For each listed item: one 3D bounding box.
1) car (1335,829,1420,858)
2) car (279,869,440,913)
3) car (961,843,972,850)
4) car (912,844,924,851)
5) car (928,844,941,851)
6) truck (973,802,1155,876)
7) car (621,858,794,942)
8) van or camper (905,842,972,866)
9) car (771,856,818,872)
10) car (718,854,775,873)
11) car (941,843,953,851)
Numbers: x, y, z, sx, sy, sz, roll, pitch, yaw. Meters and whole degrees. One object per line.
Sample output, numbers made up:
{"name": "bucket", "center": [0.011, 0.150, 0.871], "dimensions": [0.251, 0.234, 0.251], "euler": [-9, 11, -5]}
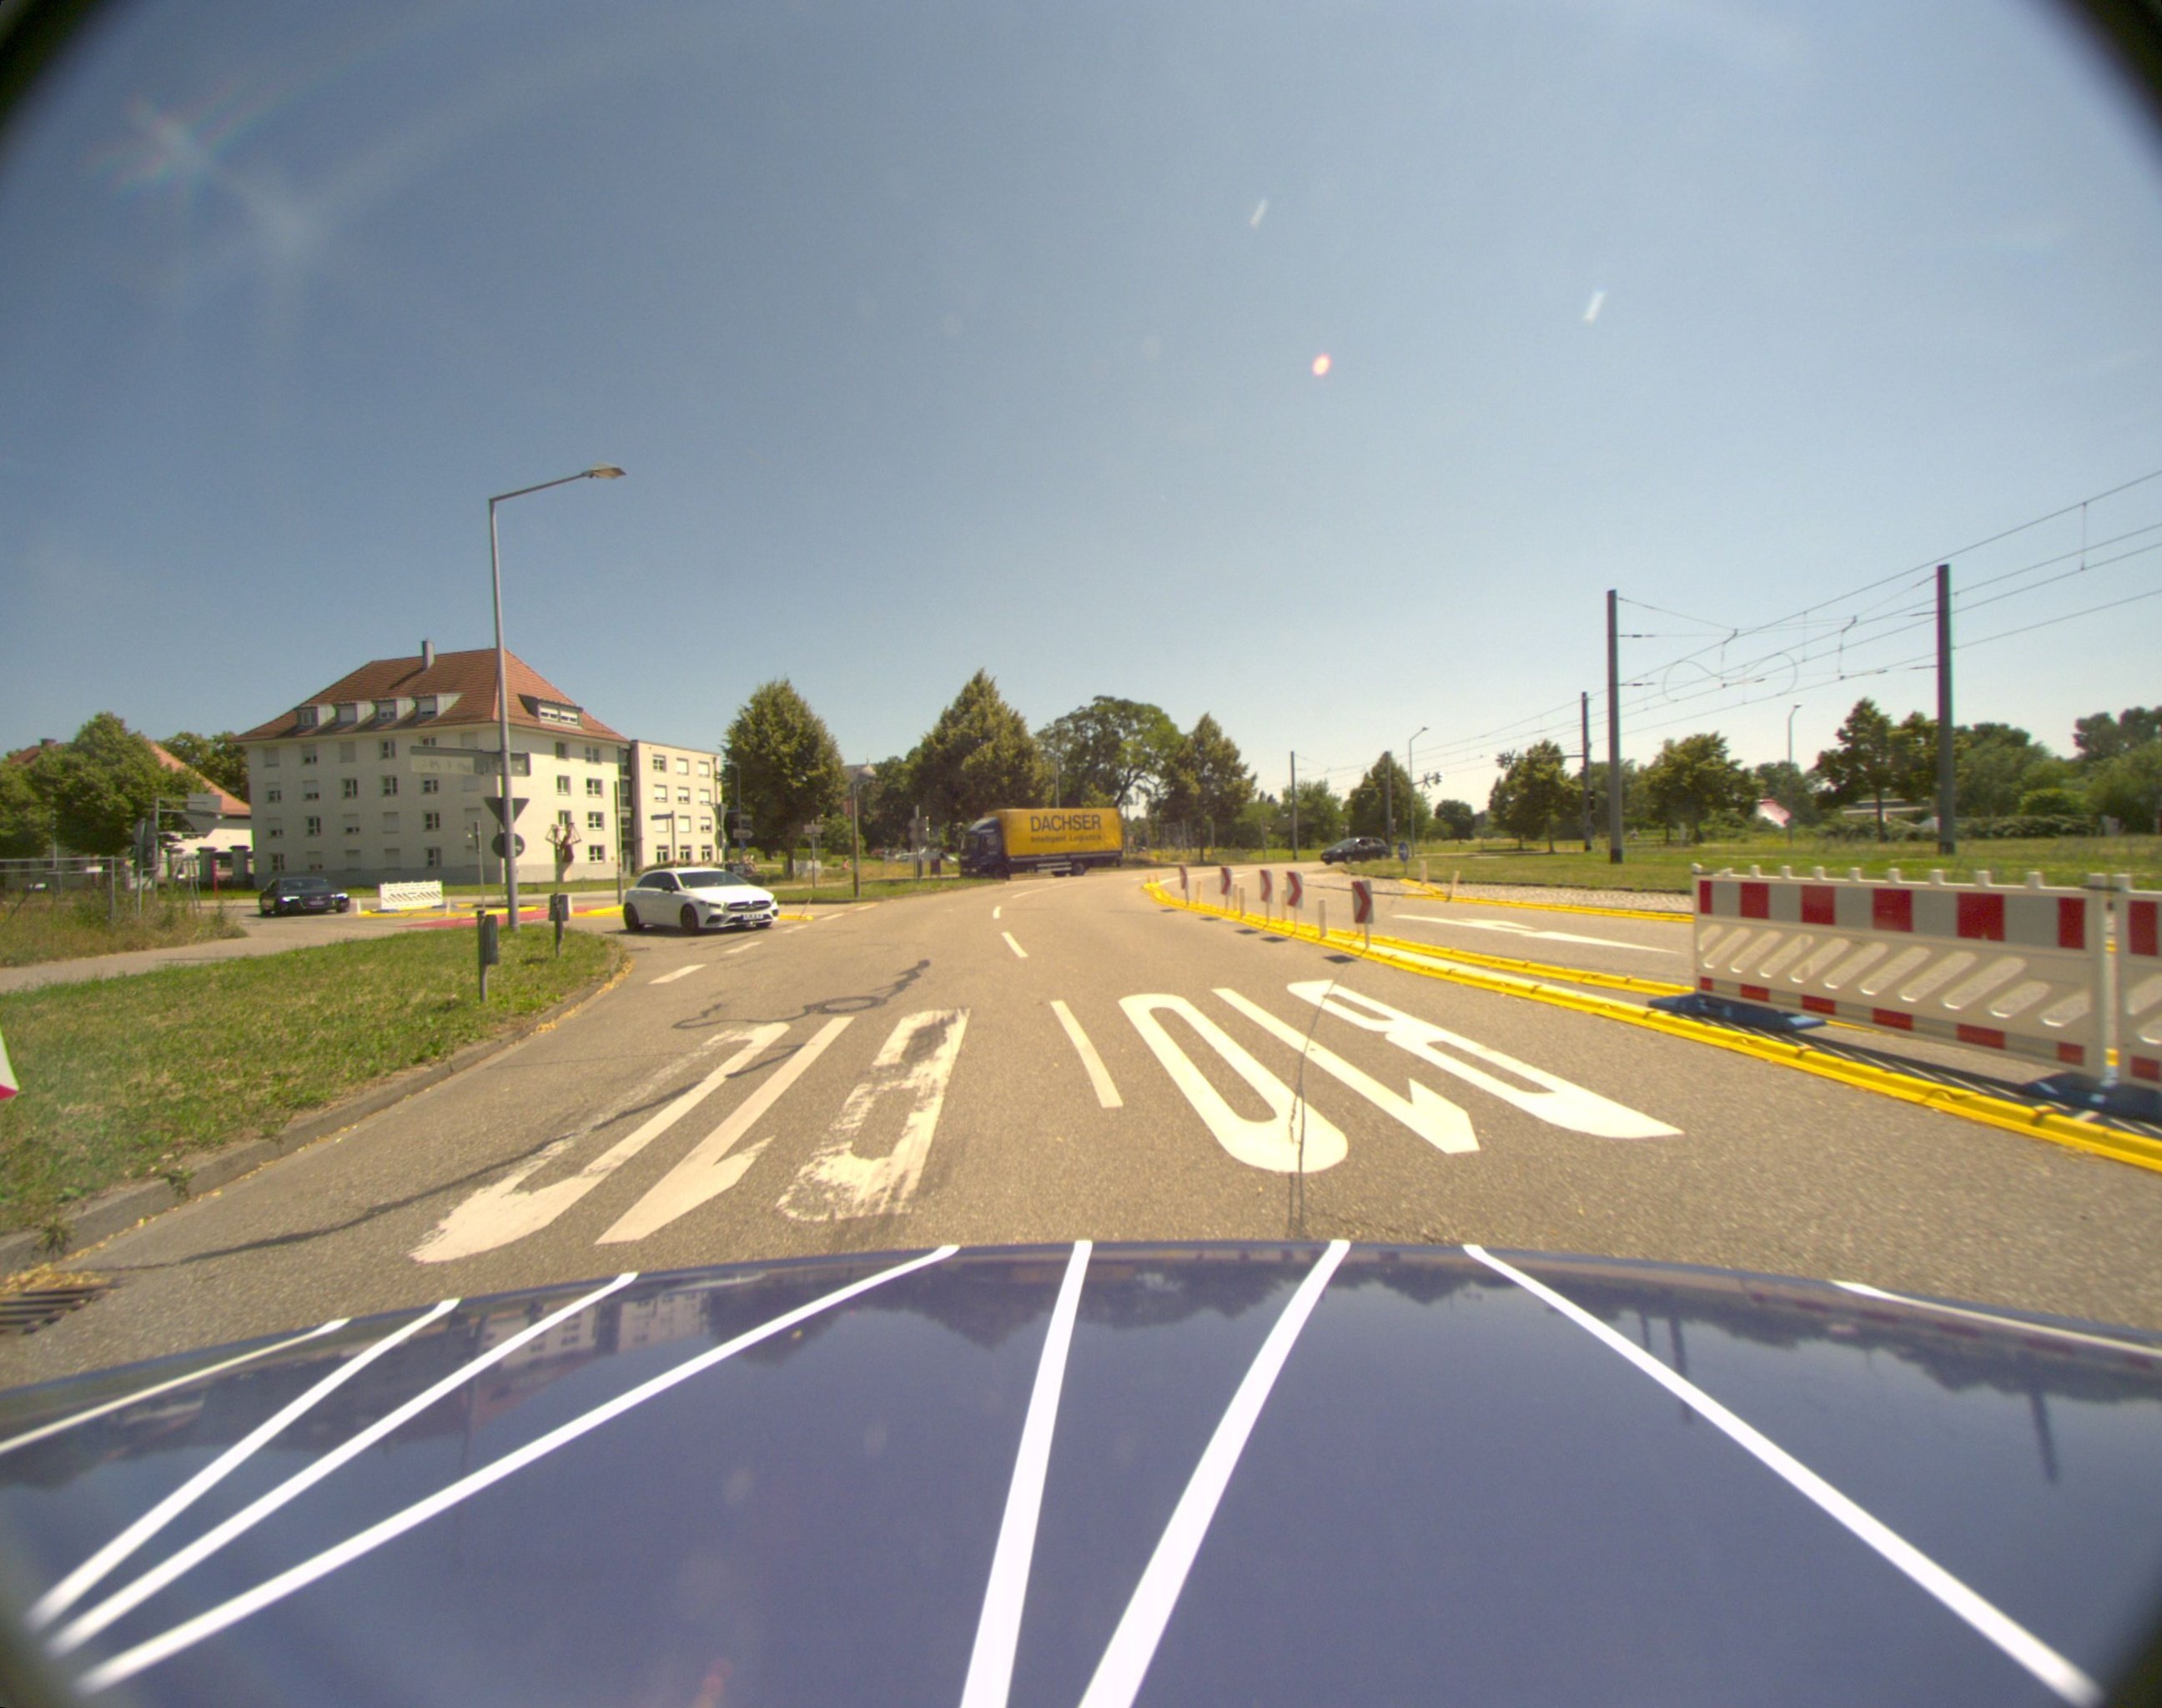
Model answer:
{"name": "car", "center": [16.100, -0.577, 41.325], "dimensions": [4.003, 1.410, 1.976], "euler": [-3, 2, -21]}
{"name": "car", "center": [-29.491, 1.485, 31.163], "dimensions": [4.616, 1.443, 1.800], "euler": [-2, 3, -4]}
{"name": "car", "center": [-23.359, -1.579, 155.079], "dimensions": [1.477, 1.408, 3.029], "euler": [-2, 1, 10]}
{"name": "car", "center": [-33.517, -1.284, 156.360], "dimensions": [1.477, 1.408, 3.029], "euler": [-2, 1, 10]}
{"name": "car", "center": [-30.225, -1.403, 156.658], "dimensions": [1.477, 1.408, 3.029], "euler": [-2, 1, 10]}
{"name": "truck", "center": [-0.750, -0.895, 40.704], "dimensions": [9.630, 3.638, 2.701], "euler": [-3, 1, -32]}
{"name": "car", "center": [-8.360, 0.920, 16.889], "dimensions": [3.951, 1.537, 1.784], "euler": [0, 4, 38]}
{"name": "van or camper", "center": [-12.243, -0.020, 65.419], "dimensions": [5.263, 1.847, 2.002], "euler": [-2, 1, 13]}
{"name": "car", "center": [-24.312, 0.853, 64.537], "dimensions": [3.507, 1.210, 1.358], "euler": [-2, 1, 14]}
{"name": "car", "center": [-25.781, 0.742, 58.574], "dimensions": [3.801, 1.319, 1.661], "euler": [-2, 1, 14]}
{"name": "car", "center": [-27.401, -1.463, 155.895], "dimensions": [1.477, 1.408, 3.029], "euler": [-2, 1, 10]}
